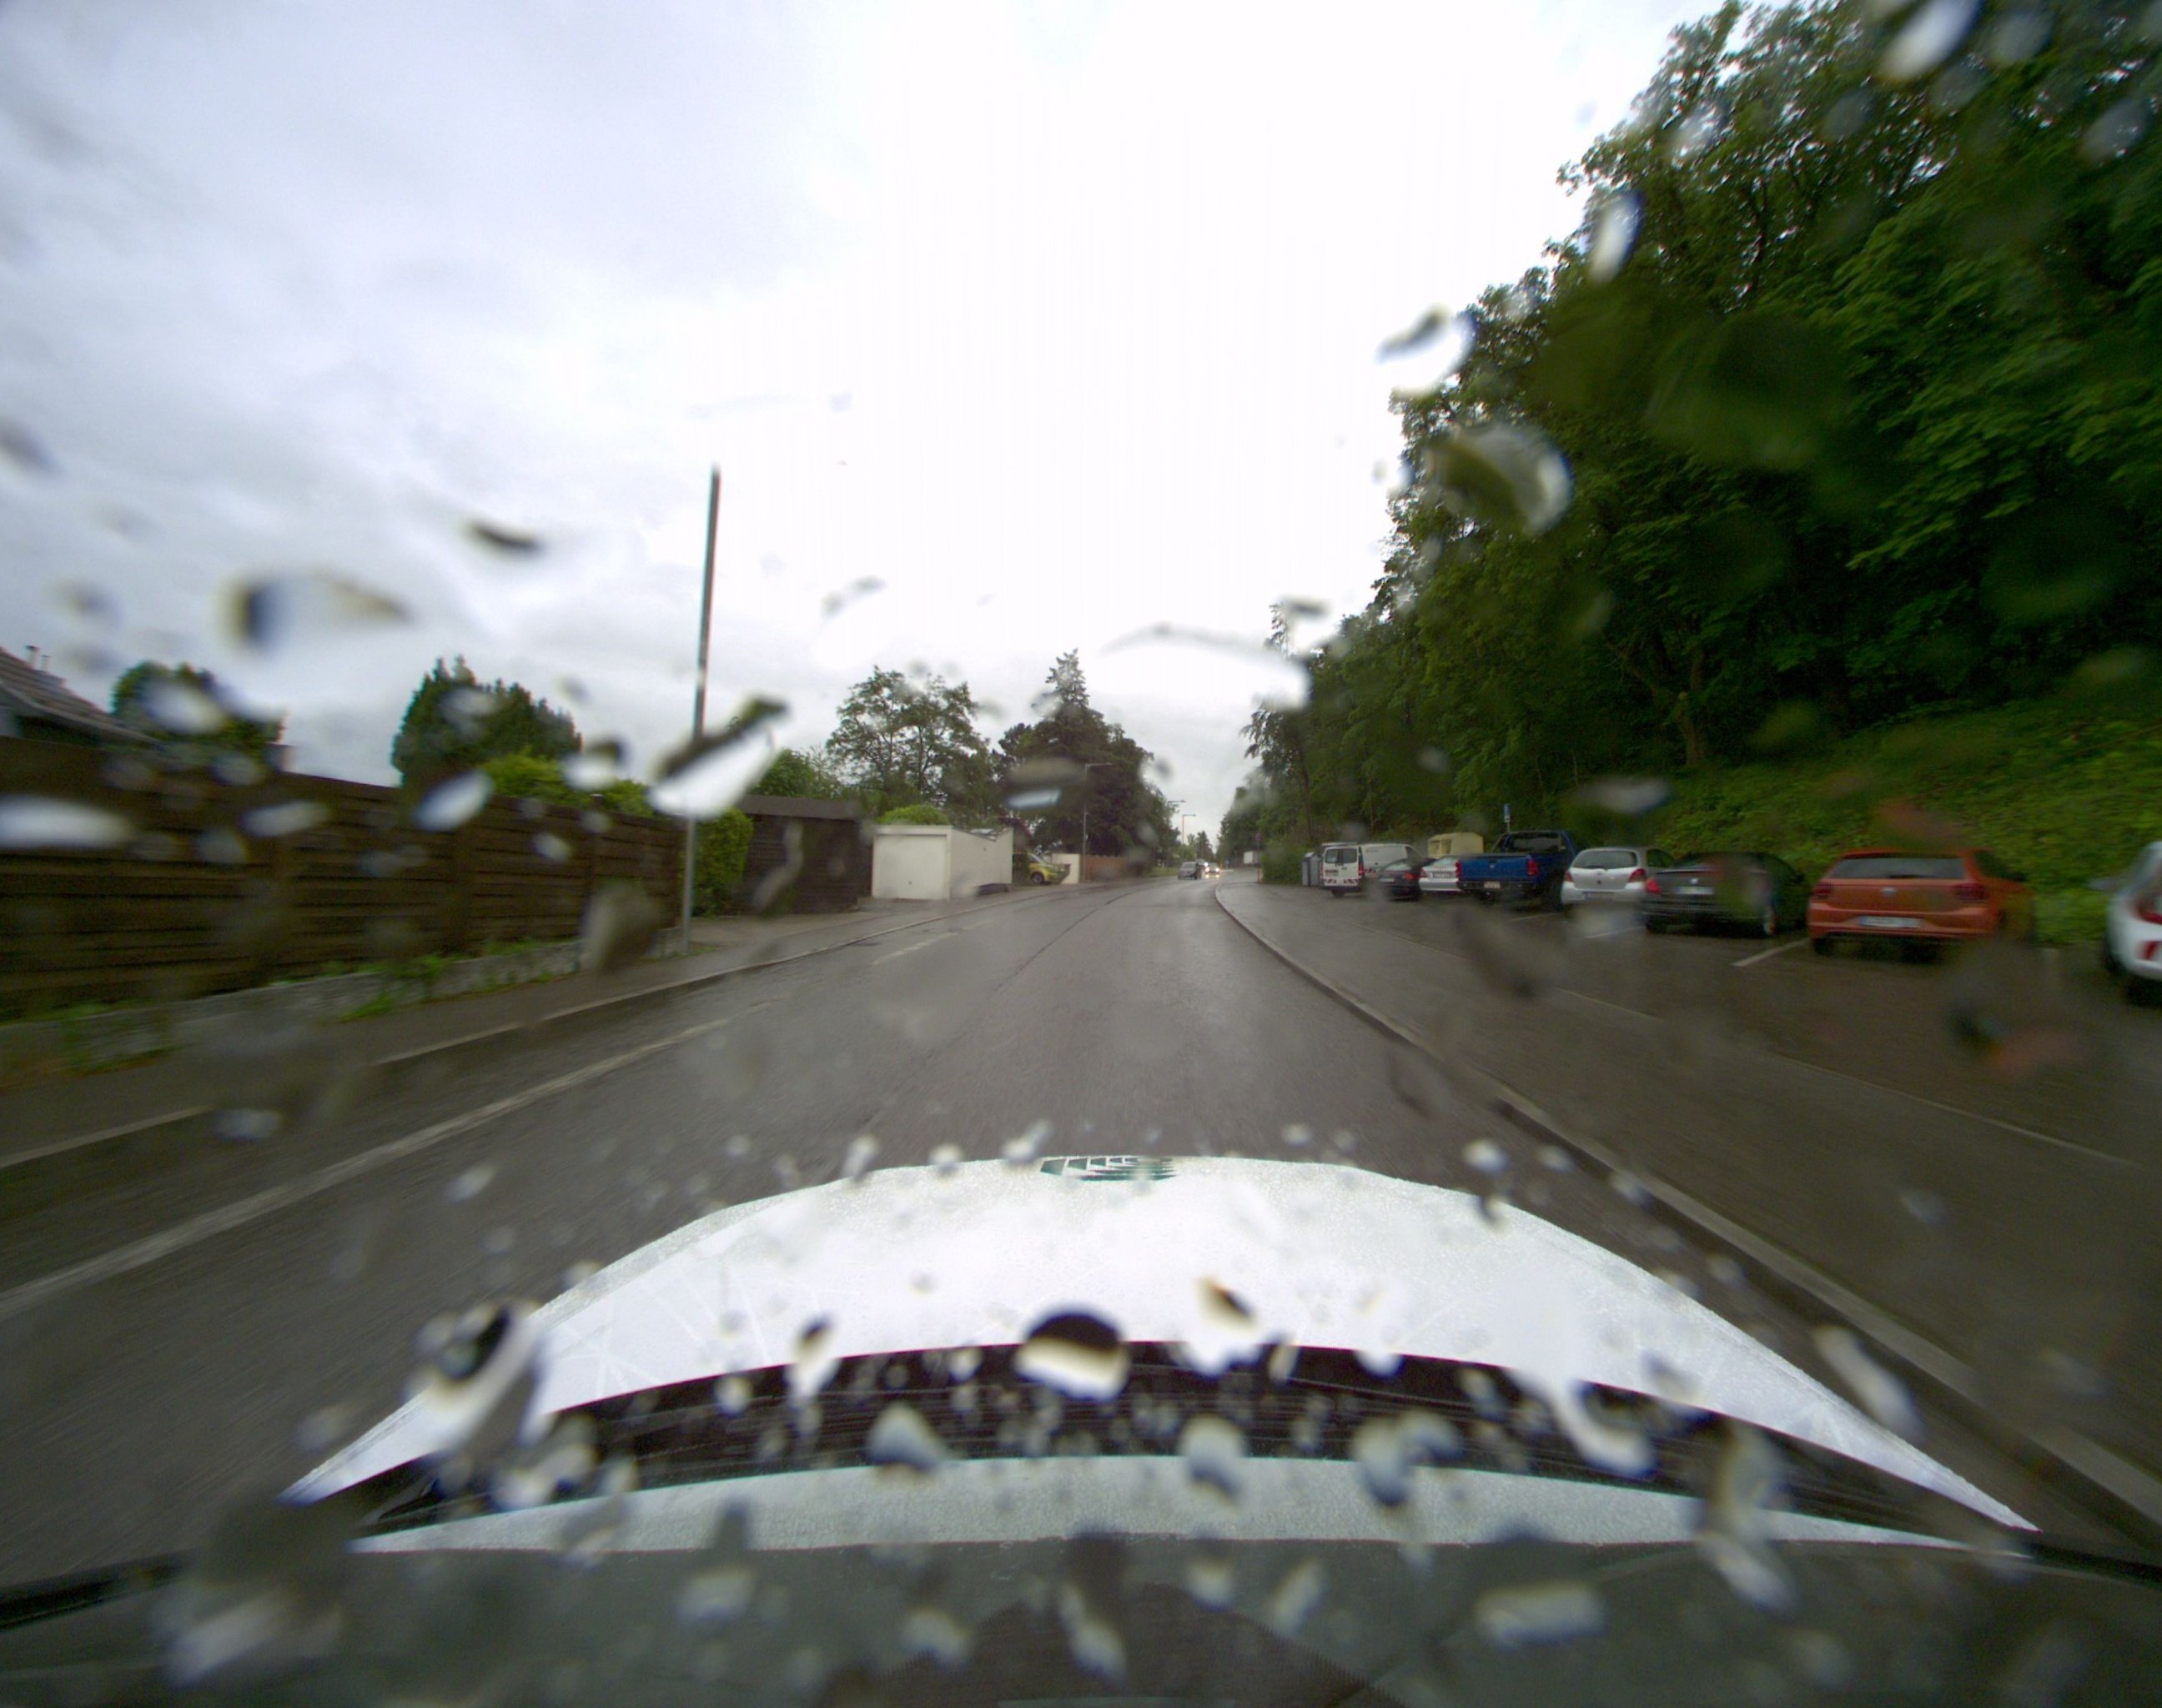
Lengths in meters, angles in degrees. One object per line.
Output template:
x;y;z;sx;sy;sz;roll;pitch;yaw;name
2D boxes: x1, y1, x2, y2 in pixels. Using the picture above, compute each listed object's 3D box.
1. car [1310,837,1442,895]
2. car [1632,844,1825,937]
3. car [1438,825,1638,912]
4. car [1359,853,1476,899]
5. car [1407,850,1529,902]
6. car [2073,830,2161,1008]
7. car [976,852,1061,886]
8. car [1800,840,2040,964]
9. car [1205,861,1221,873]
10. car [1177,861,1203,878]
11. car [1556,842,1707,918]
10.709;0.381;29.461;4.863;1.940;2.133;-1;0;-36;car
11.438;0.561;14.312;3.860;1.402;1.698;-1;-1;-37;car
11.796;0.296;20.889;5.505;1.969;2.306;-1;0;-35;car
10.845;0.663;26.186;3.813;1.348;1.742;-1;-1;-37;car
11.511;0.608;24.118;4.013;1.413;1.608;-1;-1;-38;car
10.896;0.510;7.762;3.815;1.480;1.732;-2;0;-40;car
-3.621;0.861;47.339;4.471;1.860;2.097;-1;-1;14;car
11.456;0.545;11.065;3.811;1.402;1.699;-1;-1;-36;car
16.722;1.671;102.948;1.822;1.511;4.183;0;-1;13;car
10.069;1.383;75.118;1.821;1.511;4.635;0;-1;15;car
12.062;0.506;17.759;3.932;1.486;1.600;-1;-1;-38;car
